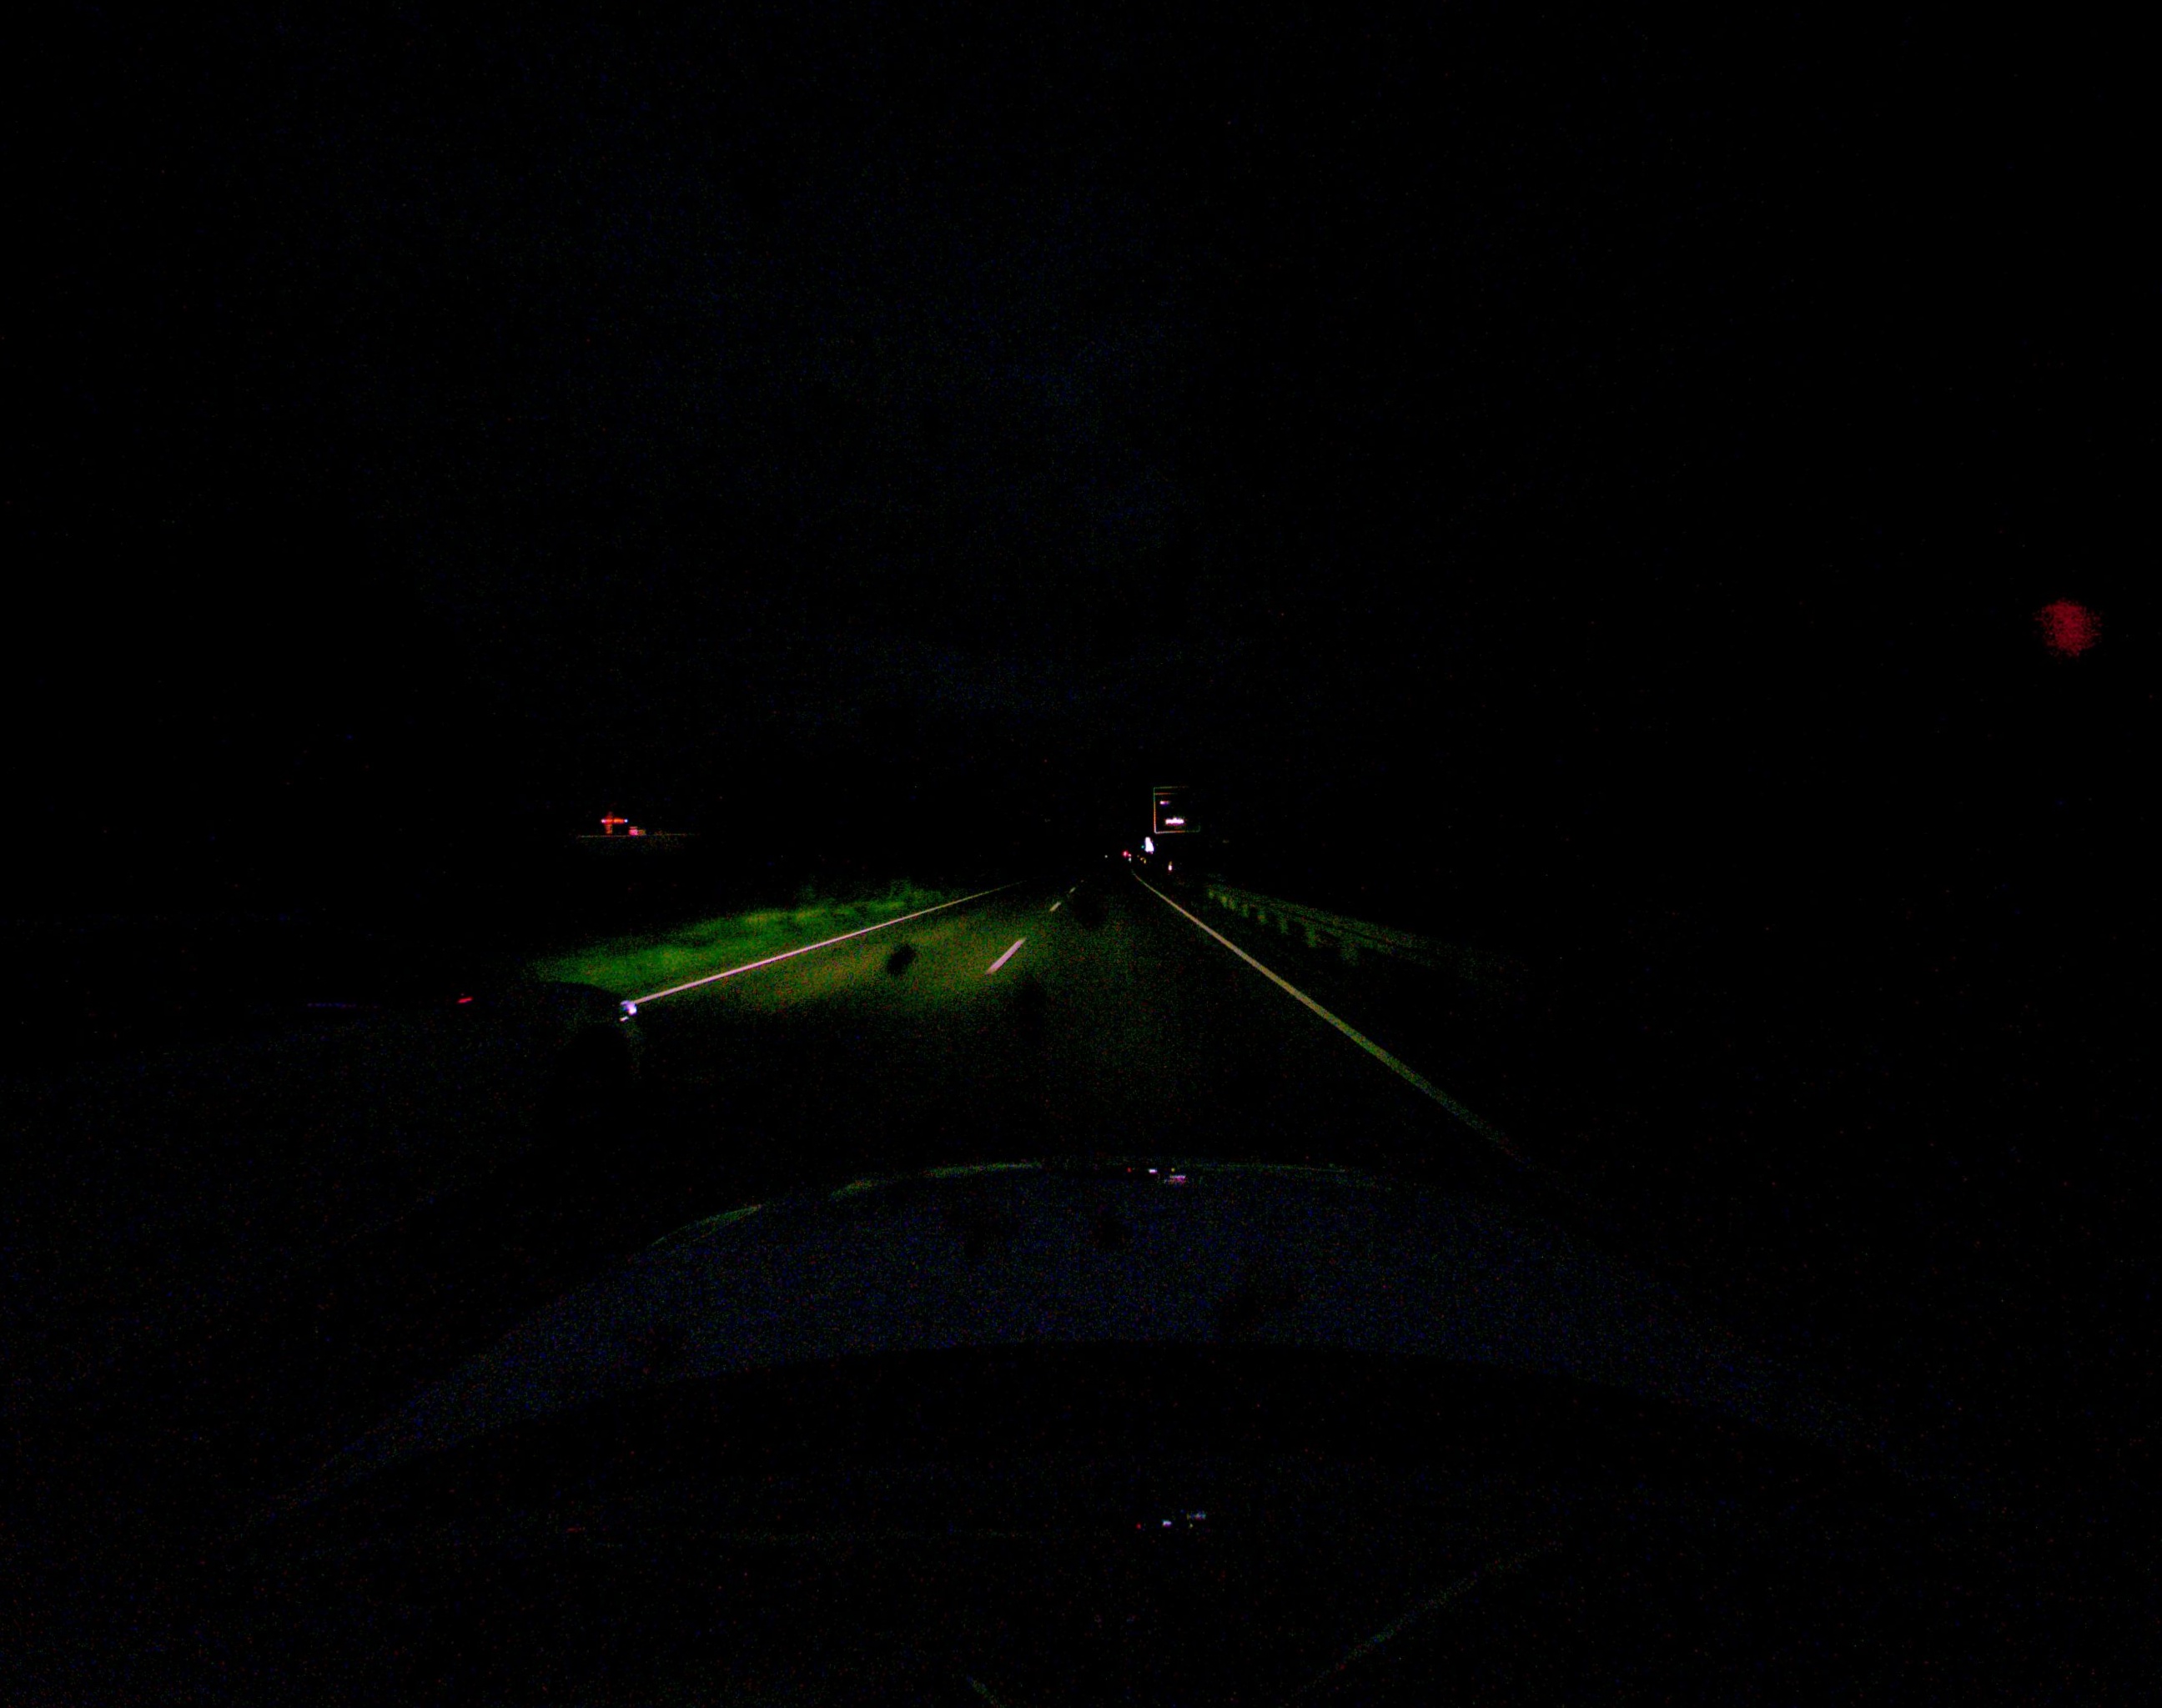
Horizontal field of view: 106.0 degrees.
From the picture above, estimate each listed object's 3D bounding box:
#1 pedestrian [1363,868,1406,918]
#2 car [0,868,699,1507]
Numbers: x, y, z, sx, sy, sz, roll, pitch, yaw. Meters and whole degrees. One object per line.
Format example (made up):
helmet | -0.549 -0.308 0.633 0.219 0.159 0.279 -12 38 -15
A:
pedestrian | 10.336 1.300 27.754 1.058 1.643 1.119 -1 0 2
car | -3.397 0.839 3.069 1.636 1.490 4.581 -1 0 1
